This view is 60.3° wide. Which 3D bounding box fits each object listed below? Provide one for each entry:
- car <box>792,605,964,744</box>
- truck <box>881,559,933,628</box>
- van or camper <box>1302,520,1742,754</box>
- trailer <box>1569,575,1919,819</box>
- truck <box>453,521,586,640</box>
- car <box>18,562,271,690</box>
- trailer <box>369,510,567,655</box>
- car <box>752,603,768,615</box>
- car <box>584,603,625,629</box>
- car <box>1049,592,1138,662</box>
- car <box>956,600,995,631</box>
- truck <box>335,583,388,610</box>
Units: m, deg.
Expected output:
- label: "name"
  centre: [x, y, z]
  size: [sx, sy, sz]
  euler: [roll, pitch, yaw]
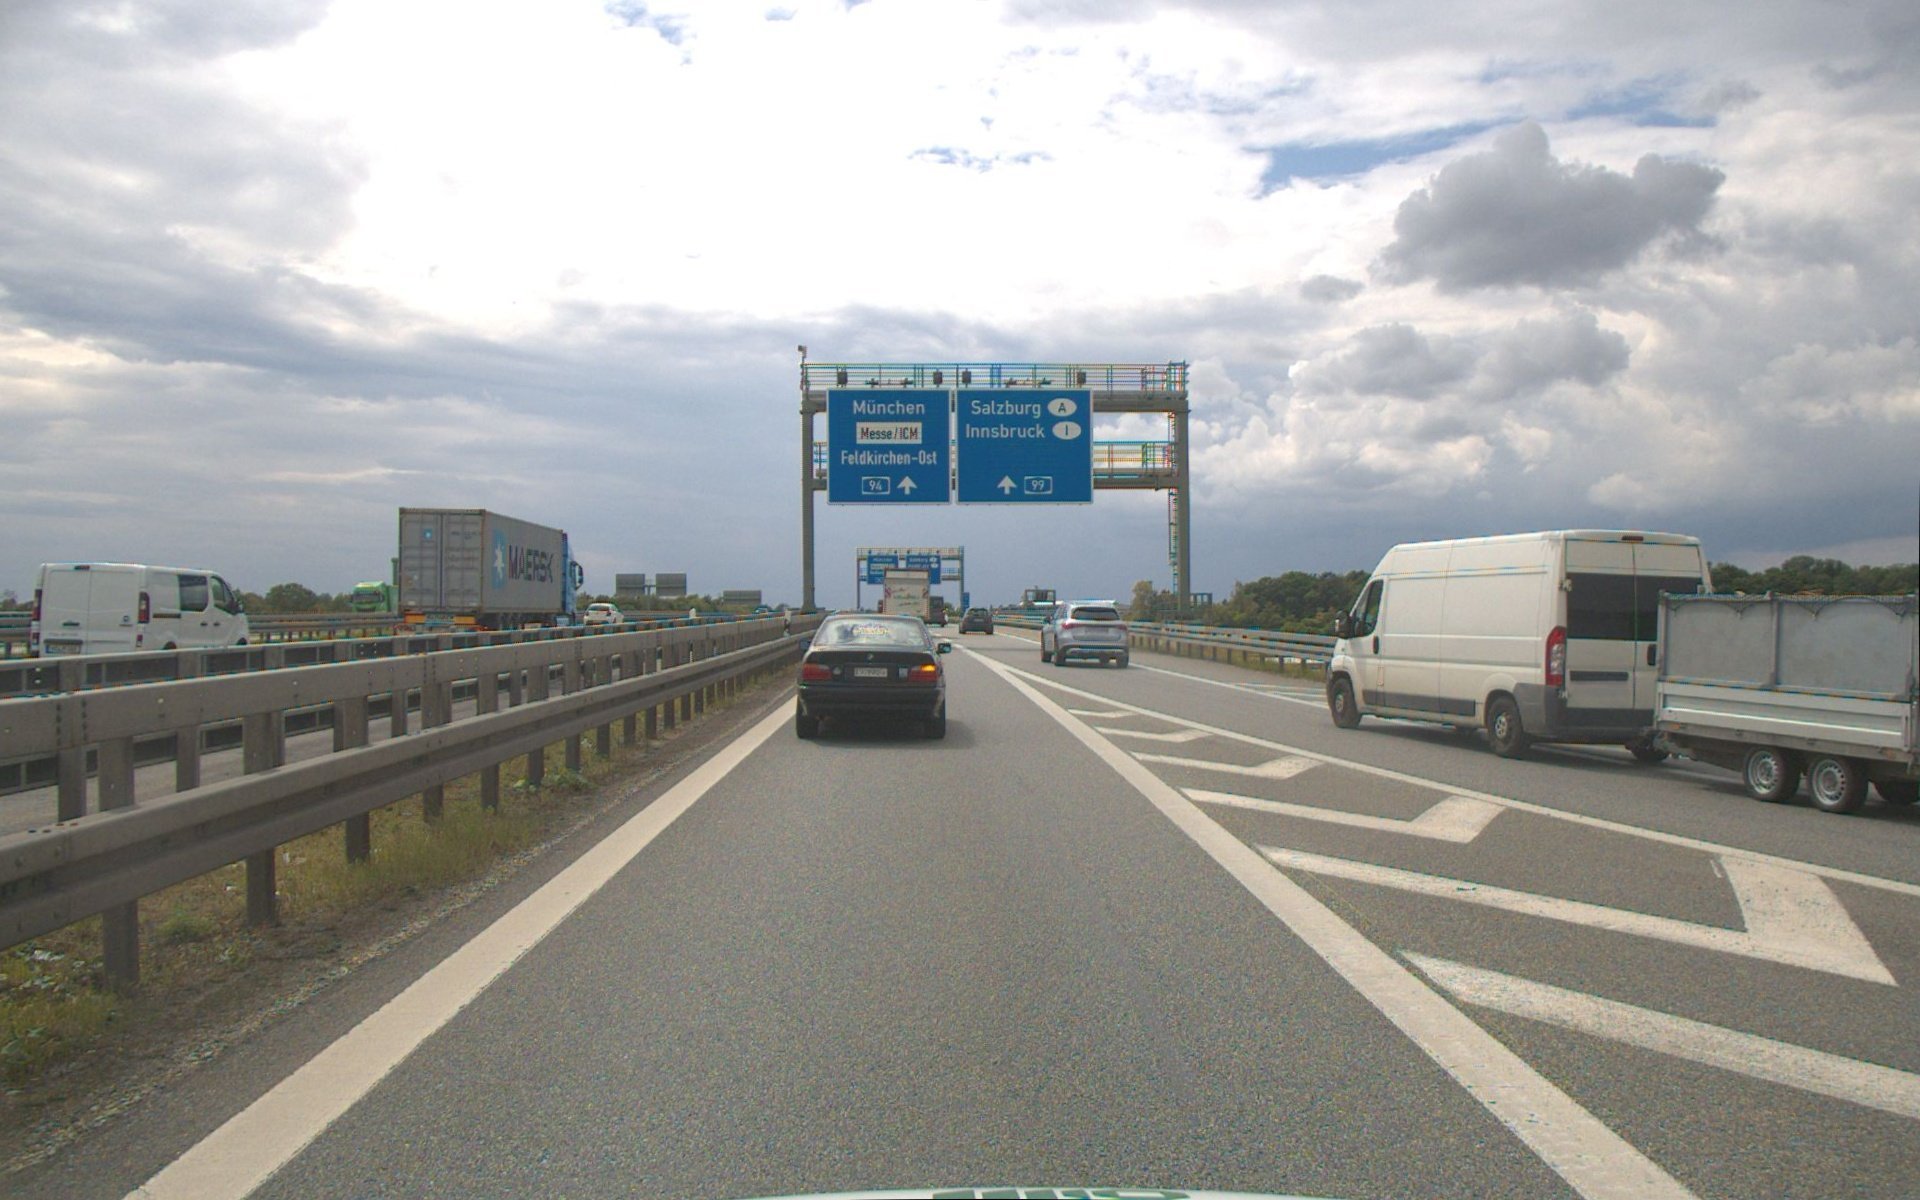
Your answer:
- label: "car"
  centre: [-0.894, 0.776, 19.137]
  size: [1.746, 1.402, 4.135]
  euler: [1, 0, -2]
- label: "truck"
  centre: [-2.518, -0.296, 79.292]
  size: [2.355, 3.144, 6.368]
  euler: [1, 0, -2]
- label: "van or camper"
  centre: [6.501, 0.404, 20.131]
  size: [2.186, 2.402, 5.917]
  euler: [1, 0, -14]
- label: "trailer"
  centre: [7.770, 0.763, 15.039]
  size: [1.960, 1.874, 4.489]
  euler: [1, 0, -15]
- label: "truck"
  centre: [-15.637, -0.660, 59.191]
  size: [3.182, 3.980, 6.606]
  euler: [1, 0, -3]
- label: "car"
  centre: [-13.815, 0.416, 28.416]
  size: [1.959, 1.972, 5.129]
  euler: [1, 0, -3]
- label: "trailer"
  centre: [-15.267, -0.465, 52.641]
  size: [3.172, 3.993, 12.371]
  euler: [1, 0, -3]
- label: "car"
  centre: [-27.390, 1.235, 226.518]
  size: [1.855, 1.625, 4.413]
  euler: [2, 0, -5]
- label: "car"
  centre: [-20.042, 0.894, 93.464]
  size: [1.718, 1.393, 4.201]
  euler: [0, 0, -5]
- label: "car"
  centre: [3.395, 0.674, 42.802]
  size: [1.896, 1.714, 4.208]
  euler: [0, 0, -1]
- label: "car"
  centre: [0.813, 0.847, 90.002]
  size: [1.953, 1.579, 3.999]
  euler: [1, 0, -1]
- label: "truck"
  centre: [-52.306, -0.260, 144.696]
  size: [2.310, 2.275, 6.423]
  euler: [1, 0, -1]
